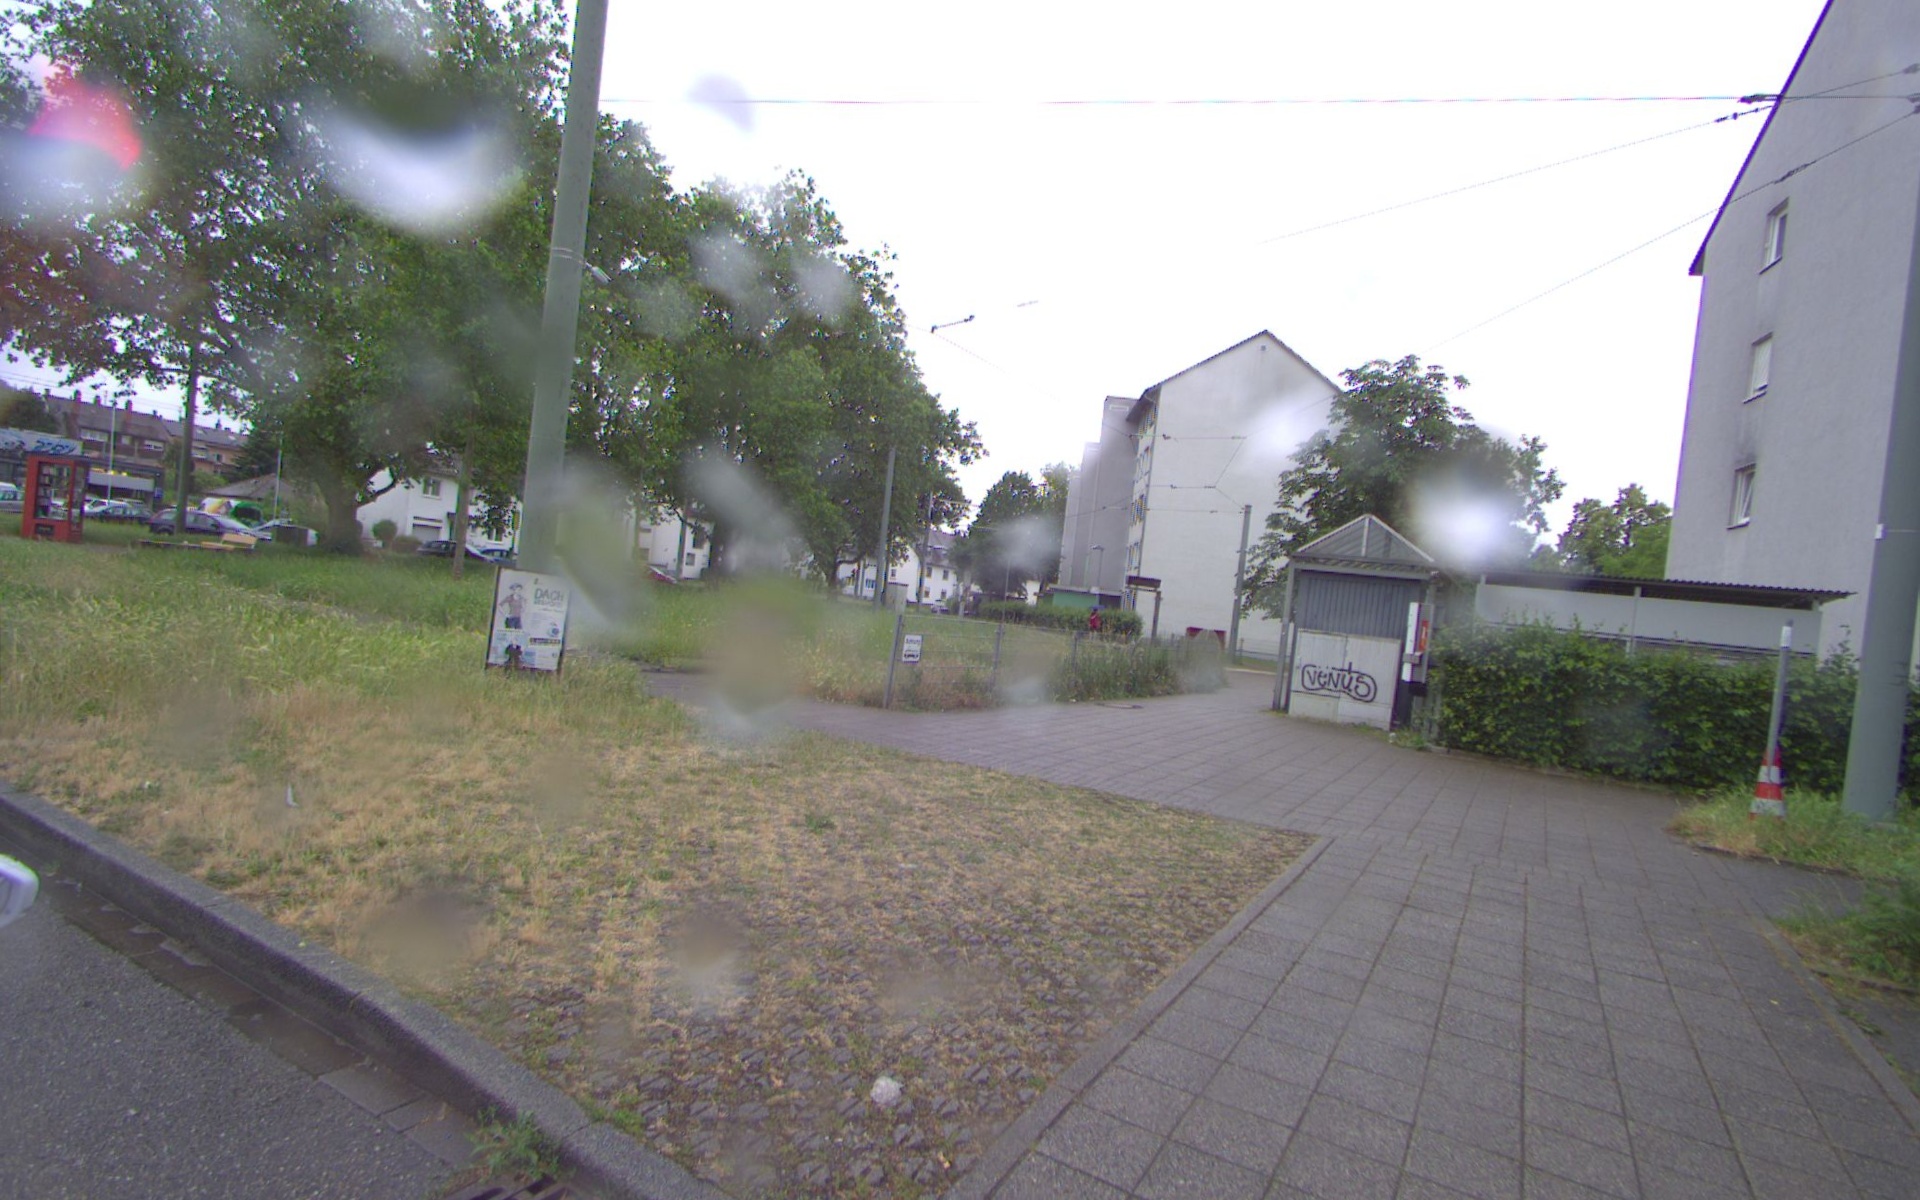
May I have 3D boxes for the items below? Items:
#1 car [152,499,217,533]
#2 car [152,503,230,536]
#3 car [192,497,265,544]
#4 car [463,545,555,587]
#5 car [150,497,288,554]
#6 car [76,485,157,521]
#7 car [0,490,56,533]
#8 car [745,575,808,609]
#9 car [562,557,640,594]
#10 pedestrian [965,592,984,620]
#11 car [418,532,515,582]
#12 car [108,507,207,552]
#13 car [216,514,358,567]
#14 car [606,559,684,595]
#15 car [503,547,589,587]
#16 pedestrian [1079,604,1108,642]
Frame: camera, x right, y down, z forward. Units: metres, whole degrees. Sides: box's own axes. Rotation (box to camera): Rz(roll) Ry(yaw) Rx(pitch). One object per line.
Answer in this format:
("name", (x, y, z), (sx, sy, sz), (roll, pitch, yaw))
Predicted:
("car", (-62.272, -6.735, 80.804), (3.924, 2.037, 2.003), (7, -2, 14))
("car", (-55.466, -5.775, 72.601), (1.816, 1.658, 3.995), (6, -2, 32))
("car", (-46.745, -5.065, 64.264), (4.280, 2.471, 1.998), (6, -2, 31))
("car", (-22.812, -1.689, 51.059), (3.855, 1.512, 1.806), (8, -2, -15))
("car", (-29.194, -2.902, 39.780), (3.855, 1.512, 1.806), (8, -2, -15))
("car", (-61.688, -7.093, 73.616), (1.968, 1.811, 3.992), (6, -2, 34))
("car", (-46.583, -4.440, 48.723), (1.859, 1.720, 3.692), (6, -2, 32))
("car", (-12.744, -0.548, 70.099), (3.843, 1.785, 1.812), (7, -2, 0))
("car", (-20.113, -1.362, 56.529), (3.855, 1.512, 1.806), (8, -2, -15))
("pedestrian", (1.004, 0.453, 70.140), (1.022, 1.811, 0.818), (7, -1, -3))
("car", (-23.731, -2.045, 48.526), (3.710, 1.819, 1.806), (8, -2, -15))
("car", (-43.428, -3.791, 54.506), (1.859, 1.720, 3.692), (6, -2, 32))
("car", (-25.162, -2.212, 37.706), (1.819, 1.300, 3.987), (6, -3, 39))
("car", (-18.630, -1.336, 59.585), (3.842, 1.513, 1.812), (7, -2, 3))
("car", (-21.980, -1.731, 53.495), (3.855, 1.512, 1.806), (8, -2, -15))
("pedestrian", (6.256, 1.080, 47.175), (0.806, 1.674, 0.889), (6, -1, 41))
